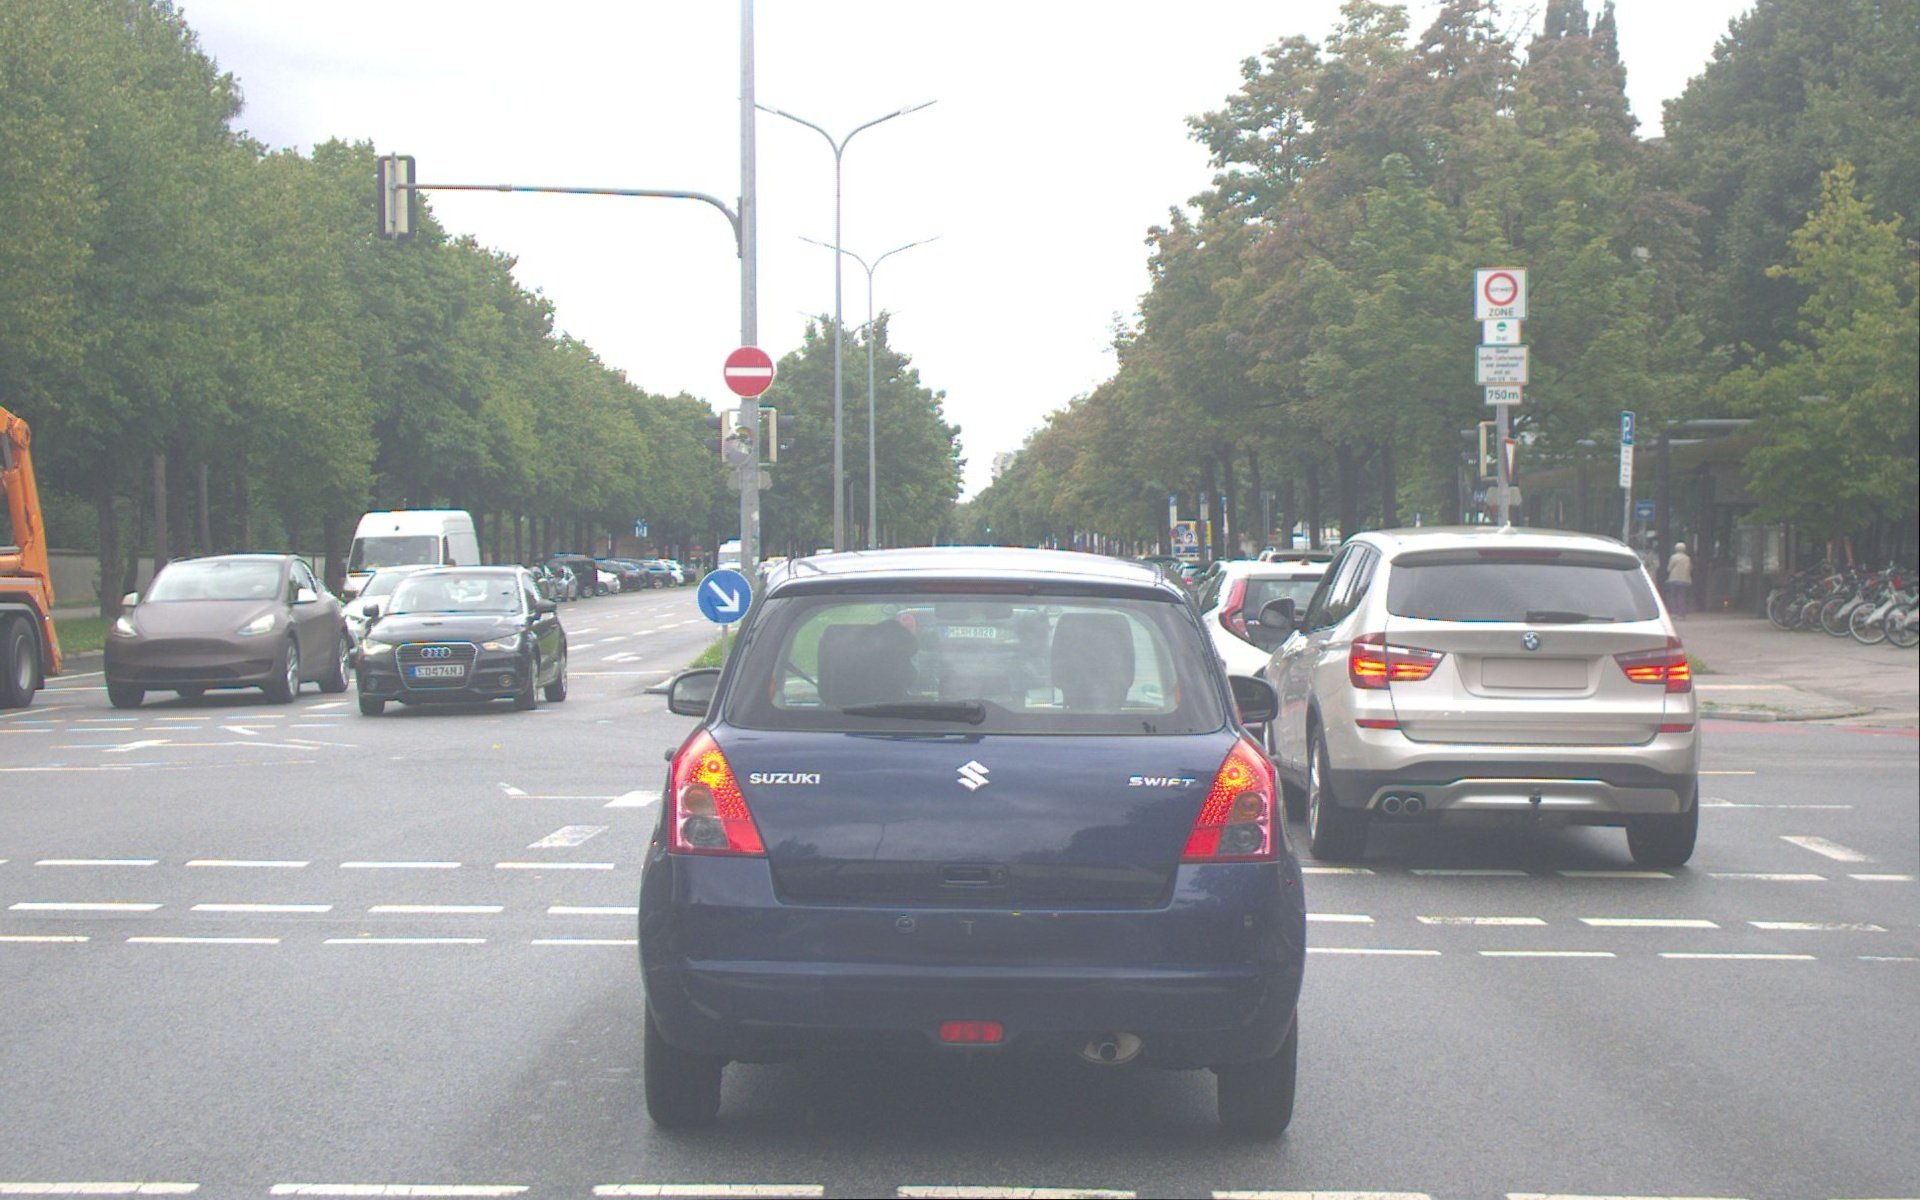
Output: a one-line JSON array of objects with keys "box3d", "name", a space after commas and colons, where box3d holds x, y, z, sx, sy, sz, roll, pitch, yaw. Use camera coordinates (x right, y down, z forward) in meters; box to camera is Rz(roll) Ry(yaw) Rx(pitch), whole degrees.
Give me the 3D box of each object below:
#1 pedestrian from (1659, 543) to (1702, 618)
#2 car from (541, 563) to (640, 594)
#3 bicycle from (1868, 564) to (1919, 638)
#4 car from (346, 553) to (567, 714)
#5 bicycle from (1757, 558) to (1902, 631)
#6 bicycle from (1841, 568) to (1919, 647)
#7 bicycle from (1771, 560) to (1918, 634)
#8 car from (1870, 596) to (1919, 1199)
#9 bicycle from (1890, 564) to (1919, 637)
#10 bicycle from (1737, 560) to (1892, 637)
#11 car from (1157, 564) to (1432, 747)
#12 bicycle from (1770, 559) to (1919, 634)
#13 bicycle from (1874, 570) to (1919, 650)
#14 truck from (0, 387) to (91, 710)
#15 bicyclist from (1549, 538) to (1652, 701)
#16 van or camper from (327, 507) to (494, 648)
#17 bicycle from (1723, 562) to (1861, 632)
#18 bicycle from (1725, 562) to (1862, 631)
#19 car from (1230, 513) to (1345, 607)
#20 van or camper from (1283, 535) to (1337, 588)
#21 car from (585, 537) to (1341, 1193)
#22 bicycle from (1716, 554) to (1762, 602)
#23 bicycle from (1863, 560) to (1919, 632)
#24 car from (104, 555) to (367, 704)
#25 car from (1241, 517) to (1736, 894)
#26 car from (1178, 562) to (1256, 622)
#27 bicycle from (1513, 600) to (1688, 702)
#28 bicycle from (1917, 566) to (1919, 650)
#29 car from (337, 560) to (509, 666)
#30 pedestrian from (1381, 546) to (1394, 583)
[{"box3d": [14.567, -0.402, 69.538, 0.578, 1.508, 0.694, 0, 1, -18], "name": "pedestrian"}, {"box3d": [-16.550, -0.965, 154.004, 3.987, 1.349, 1.851, -1, 1, -34], "name": "car"}, {"box3d": [15.867, -0.017, 55.305, 2.338, 1.153, 0.585, -2, 1, 0], "name": "bicycle"}, {"box3d": [-4.874, 0.290, 33.700, 1.639, 1.482, 3.781, 0, 1, 0], "name": "car"}, {"box3d": [15.000, -0.095, 59.323, 2.338, 1.153, 0.529, -2, 1, 0], "name": "bicycle"}, {"box3d": [14.184, 0.100, 51.581, 1.807, 1.138, 0.567, -2, 0, 9], "name": "bicycle"}, {"box3d": [15.120, -0.055, 58.773, 2.338, 1.153, 0.529, -2, 1, 0], "name": "bicycle"}, {"box3d": [2.737, 0.739, 5.241, 1.622, 1.449, 3.950, 0, 1, 0], "name": "car"}, {"box3d": [16.406, -0.033, 55.952, 2.338, 1.153, 0.585, -2, 1, 0], "name": "bicycle"}, {"box3d": [14.000, -0.024, 56.352, 2.338, 1.153, 0.585, -2, 1, 0], "name": "bicycle"}, {"box3d": [2.770, 0.415, 29.331, 1.850, 1.442, 4.098, 0, 1, -1], "name": "car"}, {"box3d": [14.978, -0.060, 58.223, 2.338, 1.153, 0.529, -2, 1, 0], "name": "bicycle"}, {"box3d": [14.325, 0.122, 50.181, 1.805, 1.138, 0.567, -2, 0, -11], "name": "bicycle"}, {"box3d": [-11.357, -0.538, 35.320, 2.780, 3.345, 7.266, 0, 0, 2], "name": "truck"}, {"box3d": [7.030, 0.207, 37.727, 0.825, 1.758, 0.746, 0, 1, -35], "name": "bicyclist"}, {"box3d": [-10.982, -0.479, 69.229, 2.178, 2.638, 6.951, -2, 1, 0], "name": "van or camper"}, {"box3d": [14.964, -0.057, 61.820, 2.338, 1.153, 0.529, -3, 1, -8], "name": "bicycle"}, {"box3d": [15.203, -0.065, 62.732, 2.338, 1.153, 0.529, -2, 1, 0], "name": "bicycle"}, {"box3d": [6.268, -0.787, 66.289, 1.747, 1.718, 4.906, 1, 1, 0], "name": "car"}, {"box3d": [17.122, -1.896, 168.404, 2.024, 2.549, 5.956, 0, 1, 0], "name": "van or camper"}, {"box3d": [-0.043, 0.601, 10.136, 1.789, 1.550, 4.000, 0, 1, -1], "name": "car"}, {"box3d": [20.837, -0.595, 91.974, 0.645, 1.276, 2.550, 0, 1, 0], "name": "bicycle"}, {"box3d": [16.244, -0.097, 57.028, 2.338, 1.153, 0.585, -2, 1, 0], "name": "bicycle"}, {"box3d": [-7.882, 0.277, 37.809, 1.862, 1.536, 4.749, 0, 1, 0], "name": "car"}, {"box3d": [2.606, 0.462, 17.906, 1.850, 1.737, 4.098, 0, 1, -1], "name": "car"}, {"box3d": [6.626, -0.216, 88.934, 1.717, 1.503, 4.223, 0, 1, 0], "name": "car"}, {"box3d": [7.041, 0.547, 37.735, 1.941, 1.077, 0.748, -1, 1, -35], "name": "bicycle"}, {"box3d": [14.850, 0.087, 49.599, 1.939, 1.208, 0.567, -2, 0, -11], "name": "bicycle"}, {"box3d": [-7.895, 0.160, 50.916, 1.727, 1.482, 4.742, 0, 1, 1], "name": "car"}, {"box3d": [20.253, -1.673, 162.783, 0.575, 1.745, 0.732, 0, 0, 5], "name": "pedestrian"}]
